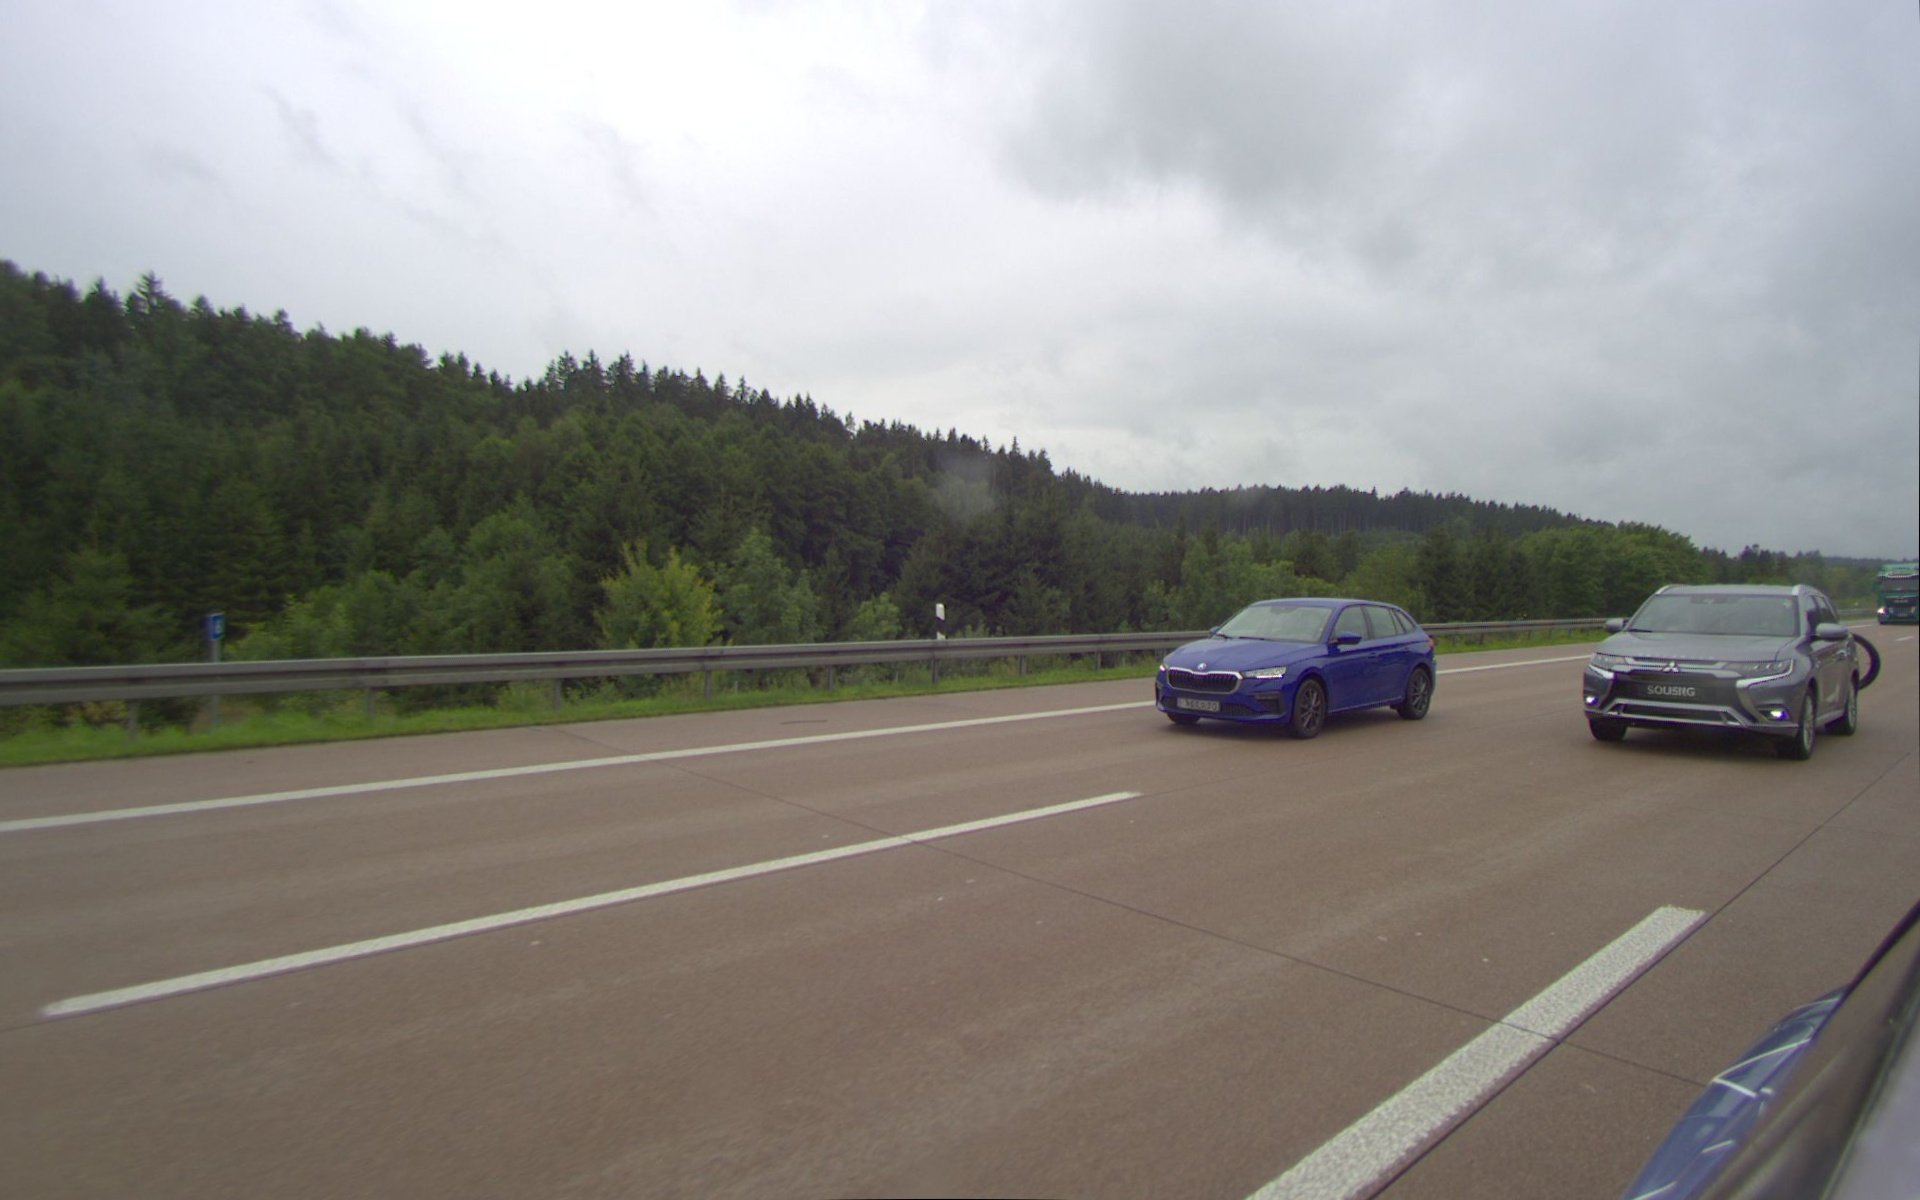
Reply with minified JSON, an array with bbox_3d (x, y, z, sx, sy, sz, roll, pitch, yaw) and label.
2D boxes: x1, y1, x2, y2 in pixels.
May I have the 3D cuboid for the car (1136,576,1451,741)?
[{"bbox_3d":[4.056,0.542,11.971,4.077,1.583,1.773,-2,1,-43],"label":"car"}]

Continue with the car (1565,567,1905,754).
[{"bbox_3d":[8.957,0.466,11.443,5.720,1.612,1.996,-2,1,-42],"label":"car"}]

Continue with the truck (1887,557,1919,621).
[{"bbox_3d":[61.933,-0.758,65.206,6.876,4.014,2.898,-2,1,-45],"label":"truck"}]

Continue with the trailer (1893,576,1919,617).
[{"bbox_3d":[67.491,-0.317,70.678,11.213,2.709,2.883,-2,1,-45],"label":"trailer"}]
